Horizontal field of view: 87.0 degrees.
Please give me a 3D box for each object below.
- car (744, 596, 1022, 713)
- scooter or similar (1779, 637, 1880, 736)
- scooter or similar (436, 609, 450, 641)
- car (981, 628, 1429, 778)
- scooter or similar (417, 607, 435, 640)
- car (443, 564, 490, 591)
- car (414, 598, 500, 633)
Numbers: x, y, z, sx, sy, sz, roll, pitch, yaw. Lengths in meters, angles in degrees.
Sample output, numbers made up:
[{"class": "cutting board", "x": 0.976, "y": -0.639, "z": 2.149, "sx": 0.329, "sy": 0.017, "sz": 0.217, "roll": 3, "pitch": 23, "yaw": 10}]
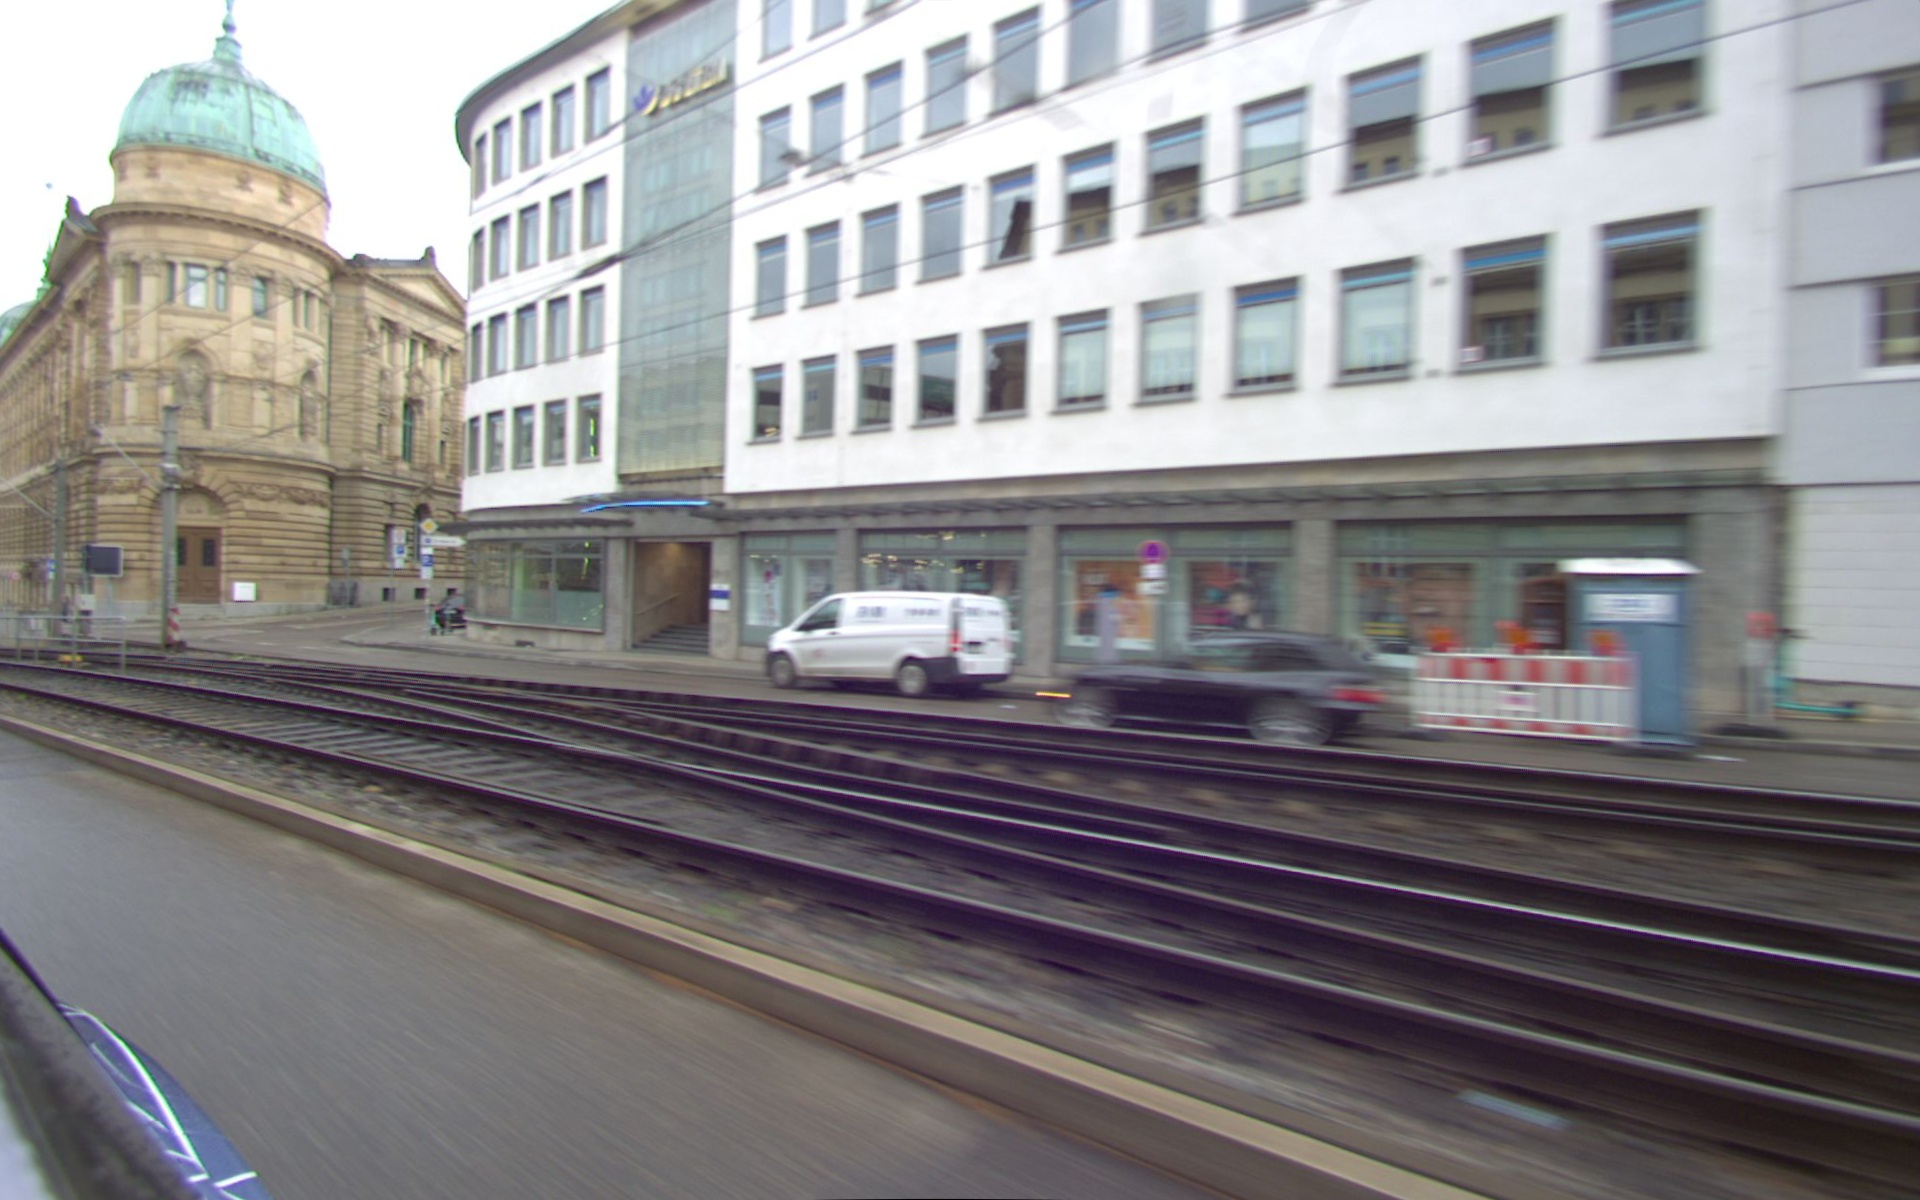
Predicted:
[{"class": "car", "x": -1.544, "y": 0.934, "z": 19.078, "sx": 5.122, "sy": 1.856, "sz": 1.976, "roll": 1, "pitch": -2, "yaw": 36}, {"class": "scooter or similar", "x": 11.407, "y": 1.113, "z": 13.303, "sx": 0.972, "sy": 1.212, "sz": 0.377, "roll": 1, "pitch": 1, "yaw": 37}, {"class": "scooter or similar", "x": -20.349, "y": 0.972, "z": 39.812, "sx": 0.404, "sy": 1.209, "sz": 1.565, "roll": 0, "pitch": 1, "yaw": -30}, {"class": "car", "x": 2.728, "y": 1.043, "z": 11.787, "sx": 4.686, "sy": 1.264, "sz": 1.976, "roll": 1, "pitch": -1, "yaw": 36}, {"class": "scooter or similar", "x": -20.935, "y": 0.915, "z": 39.673, "sx": 0.404, "sy": 1.209, "sz": 1.564, "roll": 0, "pitch": 1, "yaw": -36}, {"class": "car", "x": -30.756, "y": -1.412, "z": 63.192, "sx": 1.966, "sy": 1.652, "sz": 4.012, "roll": 0, "pitch": 1, "yaw": -16}, {"class": "car", "x": -22.126, "y": 0.642, "z": 44.686, "sx": 1.759, "sy": 1.408, "sz": 4.329, "roll": 0, "pitch": 1, "yaw": -2}]
